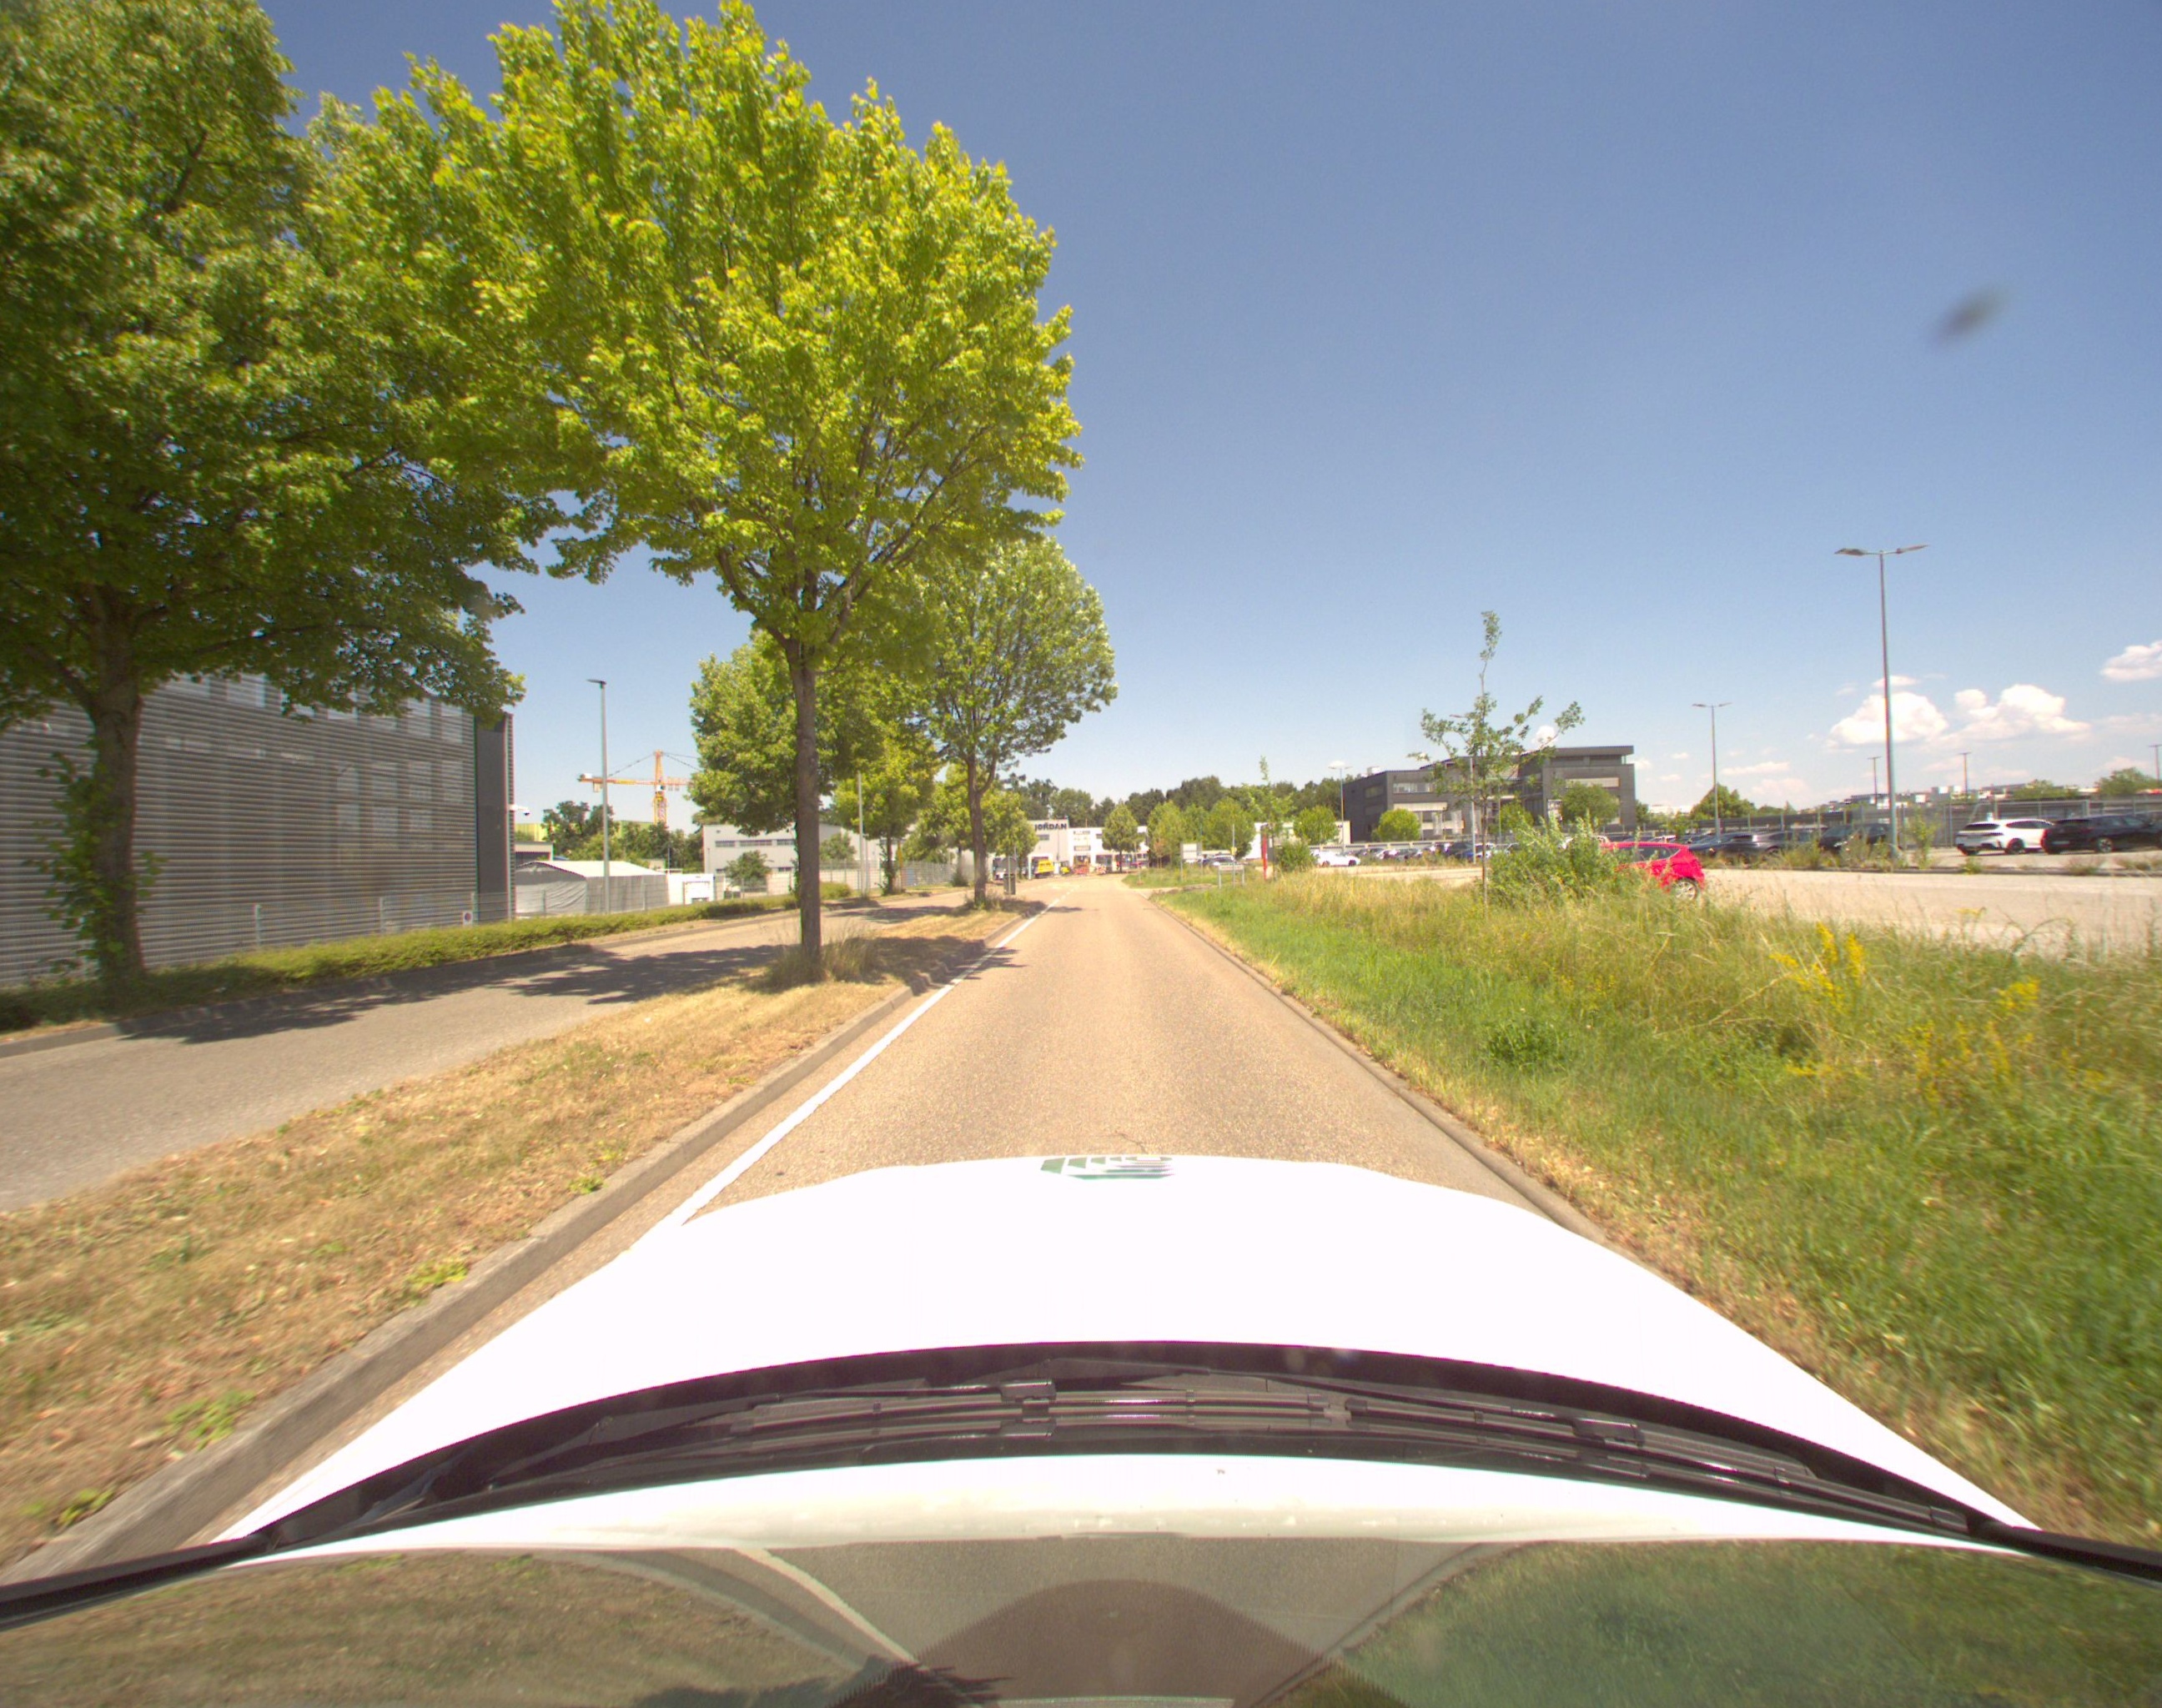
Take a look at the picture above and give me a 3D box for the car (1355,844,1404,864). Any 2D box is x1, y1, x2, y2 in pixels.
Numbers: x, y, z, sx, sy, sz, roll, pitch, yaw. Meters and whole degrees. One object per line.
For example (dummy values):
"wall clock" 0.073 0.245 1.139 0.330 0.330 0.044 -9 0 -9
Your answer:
"car" 28.162 -0.011 76.894 3.977 1.595 1.767 -4 2 -3

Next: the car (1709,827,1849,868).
"car" 28.229 -0.242 33.027 3.973 1.395 1.927 -3 -1 1

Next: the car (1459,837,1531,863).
"car" 28.166 -0.281 55.470 3.977 1.392 1.767 -4 2 -3

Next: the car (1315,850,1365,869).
"car" 23.804 0.487 74.811 3.976 1.400 1.768 -4 2 -2

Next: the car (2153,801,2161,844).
"car" 43.408 -1.306 30.773 3.989 1.639 1.993 -4 3 -11

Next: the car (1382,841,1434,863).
"car" 29.672 -0.187 74.012 3.977 1.595 1.767 -4 2 -3

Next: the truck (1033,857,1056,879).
"truck" -5.889 2.211 130.760 2.936 2.885 5.796 -4 3 -7

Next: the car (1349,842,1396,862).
"car" 28.535 -0.216 79.804 3.977 1.595 1.767 -4 2 -3

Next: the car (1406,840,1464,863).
"car" 29.343 -0.201 67.566 3.977 1.595 1.767 -4 2 -3

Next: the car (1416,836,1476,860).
"car" 29.084 -0.467 64.939 3.977 1.595 1.767 -4 2 -3

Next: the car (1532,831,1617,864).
"car" 29.081 -0.411 48.069 3.977 1.595 1.767 -4 2 -3

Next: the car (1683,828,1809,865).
"car" 29.377 -0.313 36.076 3.973 1.395 1.927 -3 -1 1

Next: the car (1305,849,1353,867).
"car" 23.540 0.364 77.288 3.977 1.400 1.767 -4 2 -3

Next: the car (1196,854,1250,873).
"car" 13.164 0.863 75.525 4.684 1.400 1.923 -4 2 3

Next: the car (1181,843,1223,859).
"car" 13.263 -0.307 89.377 4.153 1.400 1.767 -4 2 -3

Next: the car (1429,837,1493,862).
"car" 28.993 -0.376 62.162 3.977 1.595 1.860 -4 2 -3

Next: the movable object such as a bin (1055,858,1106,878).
"movable object such as a bin" -0.071 2.175 130.451 7.482 2.499 3.676 -3 3 9

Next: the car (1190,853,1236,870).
"car" 13.105 0.734 80.942 4.153 1.400 1.767 -4 2 -3

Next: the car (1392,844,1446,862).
"car" 29.529 -0.083 71.289 3.977 1.271 1.767 -4 2 -3

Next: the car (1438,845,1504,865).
"car" 28.327 0.042 59.186 3.977 1.108 1.767 -4 3 -3

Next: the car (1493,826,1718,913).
"car" 12.210 0.364 19.176 3.973 1.724 1.927 -3 -1 1

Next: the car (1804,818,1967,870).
"car" 29.498 -0.325 29.961 3.973 1.641 1.927 -3 -1 1

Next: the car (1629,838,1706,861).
"car" 39.178 -0.313 54.483 3.979 1.192 1.730 -4 3 -4

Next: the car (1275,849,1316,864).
"car" 23.895 0.281 90.693 3.977 1.400 1.767 -4 2 -3
